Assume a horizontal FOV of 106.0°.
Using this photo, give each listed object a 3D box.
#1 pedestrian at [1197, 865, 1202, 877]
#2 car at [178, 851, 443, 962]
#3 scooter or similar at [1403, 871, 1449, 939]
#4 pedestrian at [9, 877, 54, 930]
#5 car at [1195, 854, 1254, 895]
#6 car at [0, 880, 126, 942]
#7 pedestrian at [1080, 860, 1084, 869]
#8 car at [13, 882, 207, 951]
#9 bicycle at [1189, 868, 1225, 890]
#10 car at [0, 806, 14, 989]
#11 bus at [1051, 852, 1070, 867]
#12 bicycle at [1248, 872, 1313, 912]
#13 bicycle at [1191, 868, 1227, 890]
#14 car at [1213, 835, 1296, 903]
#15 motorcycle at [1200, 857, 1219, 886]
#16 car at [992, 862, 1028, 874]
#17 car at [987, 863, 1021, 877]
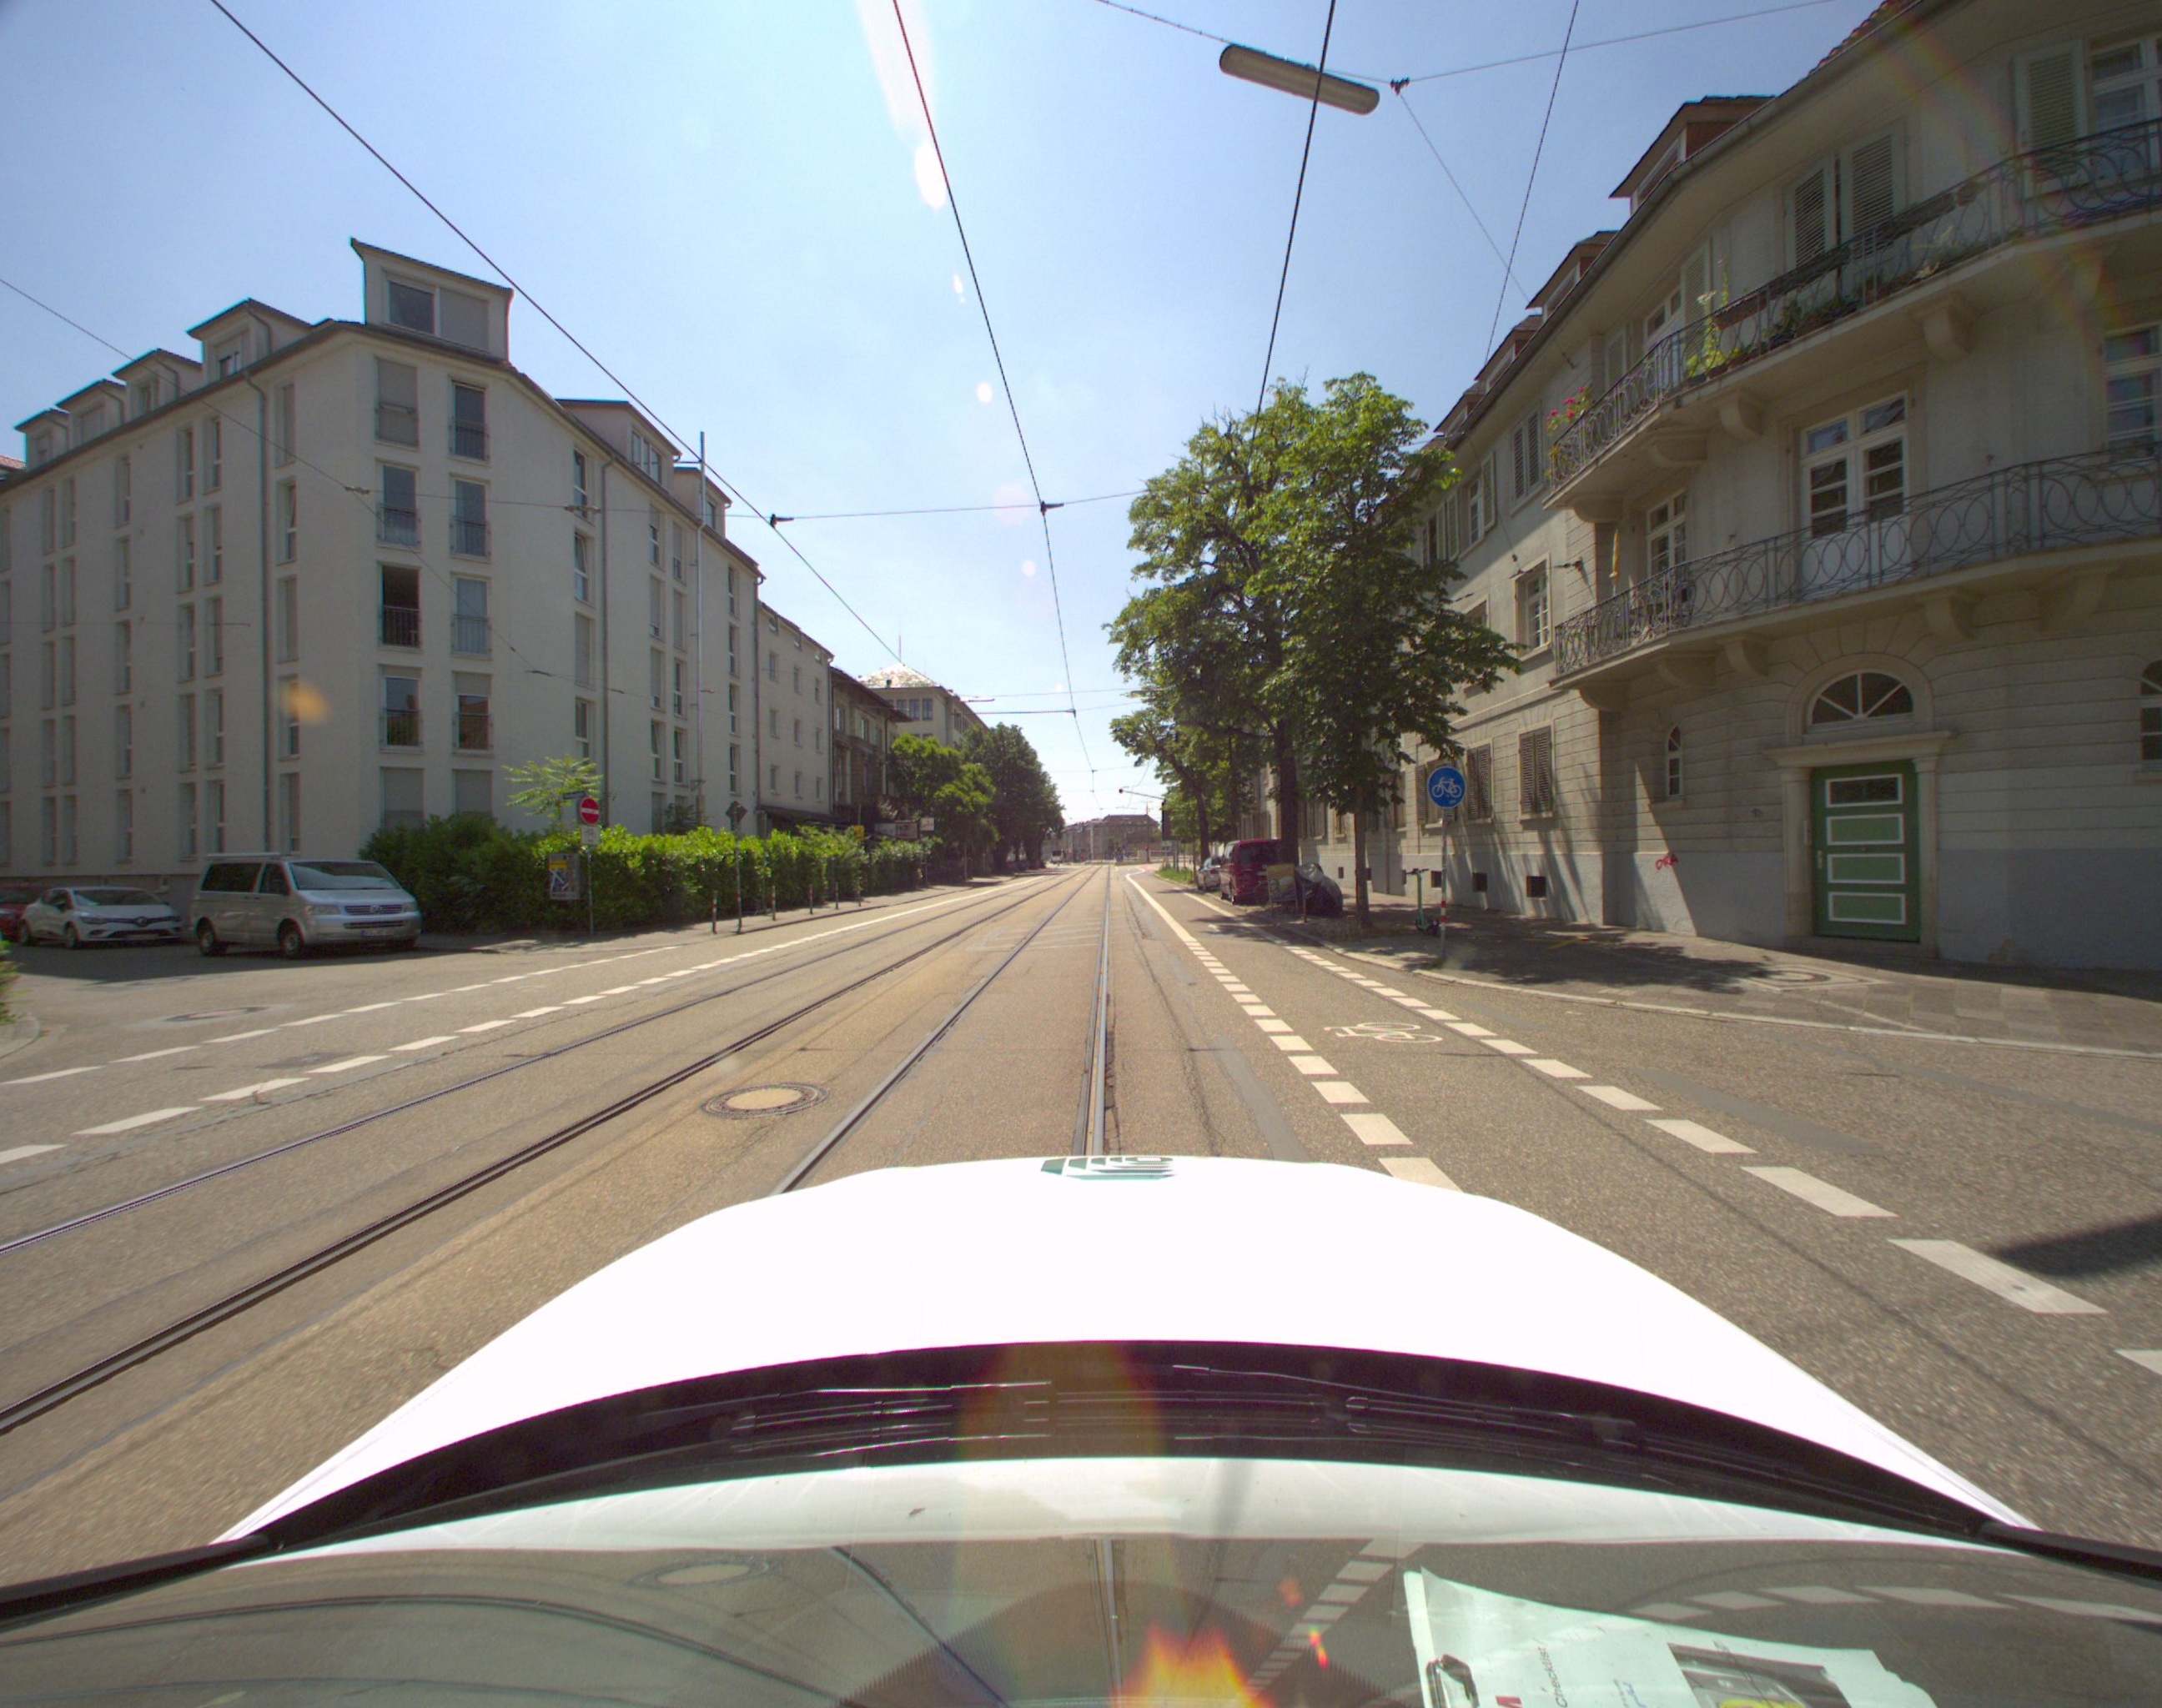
[{"bbox_3d":[16.541,2.401,113.448,0.657,1.647,0.626,-1,-1,7],"label":"pedestrian"},{"bbox_3d":[-15.562,0.983,16.469,4.648,1.984,2.168,-1,-1,23],"label":"car"},{"bbox_3d":[6.178,0.887,14.630,0.294,1.161,1.252,-1,-1,1],"label":"scooter or similar"},{"bbox_3d":[-35.163,1.638,27.291,0.644,1.734,0.792,-1,-1,24],"label":"pedestrian"},{"bbox_3d":[6.016,0.873,34.591,1.852,1.577,4.880,-1,-2,2],"label":"car"},{"bbox_3d":[-28.097,1.495,22.096,4.000,1.527,1.730,-1,-1,24],"label":"car"},{"bbox_3d":[0.225,2.221,178.616,0.672,1.909,0.639,-1,-1,-8],"label":"pedestrian"},{"bbox_3d":[-23.875,1.479,20.026,4.000,1.493,2.011,-1,-1,24],"label":"car"},{"bbox_3d":[6.097,1.198,39.415,1.651,1.016,0.372,-1,-2,2],"label":"bicycle"},{"bbox_3d":[-17.415,0.635,9.152,2.101,2.590,6.221,-1,0,21],"label":"car"},{"bbox_3d":[-4.635,1.217,188.118,2.998,3.158,17.509,-1,0,3],"label":"bus"},{"bbox_3d":[5.533,1.045,22.551,1.693,1.021,0.364,-2,-1,-5],"label":"bicycle"},{"bbox_3d":[6.084,1.197,38.761,1.651,1.016,0.372,-1,-1,2],"label":"bicycle"},{"bbox_3d":[5.592,0.488,26.834,1.852,2.014,4.978,-1,-1,2],"label":"car"},{"bbox_3d":[6.724,0.894,42.619,0.740,1.506,2.568,-1,-1,13],"label":"motorcycle"},{"bbox_3d":[-8.416,1.636,96.647,3.939,1.374,1.656,-1,0,-24],"label":"car"},{"bbox_3d":[-8.444,1.792,89.242,3.357,1.516,1.656,0,-1,-24],"label":"car"}]
